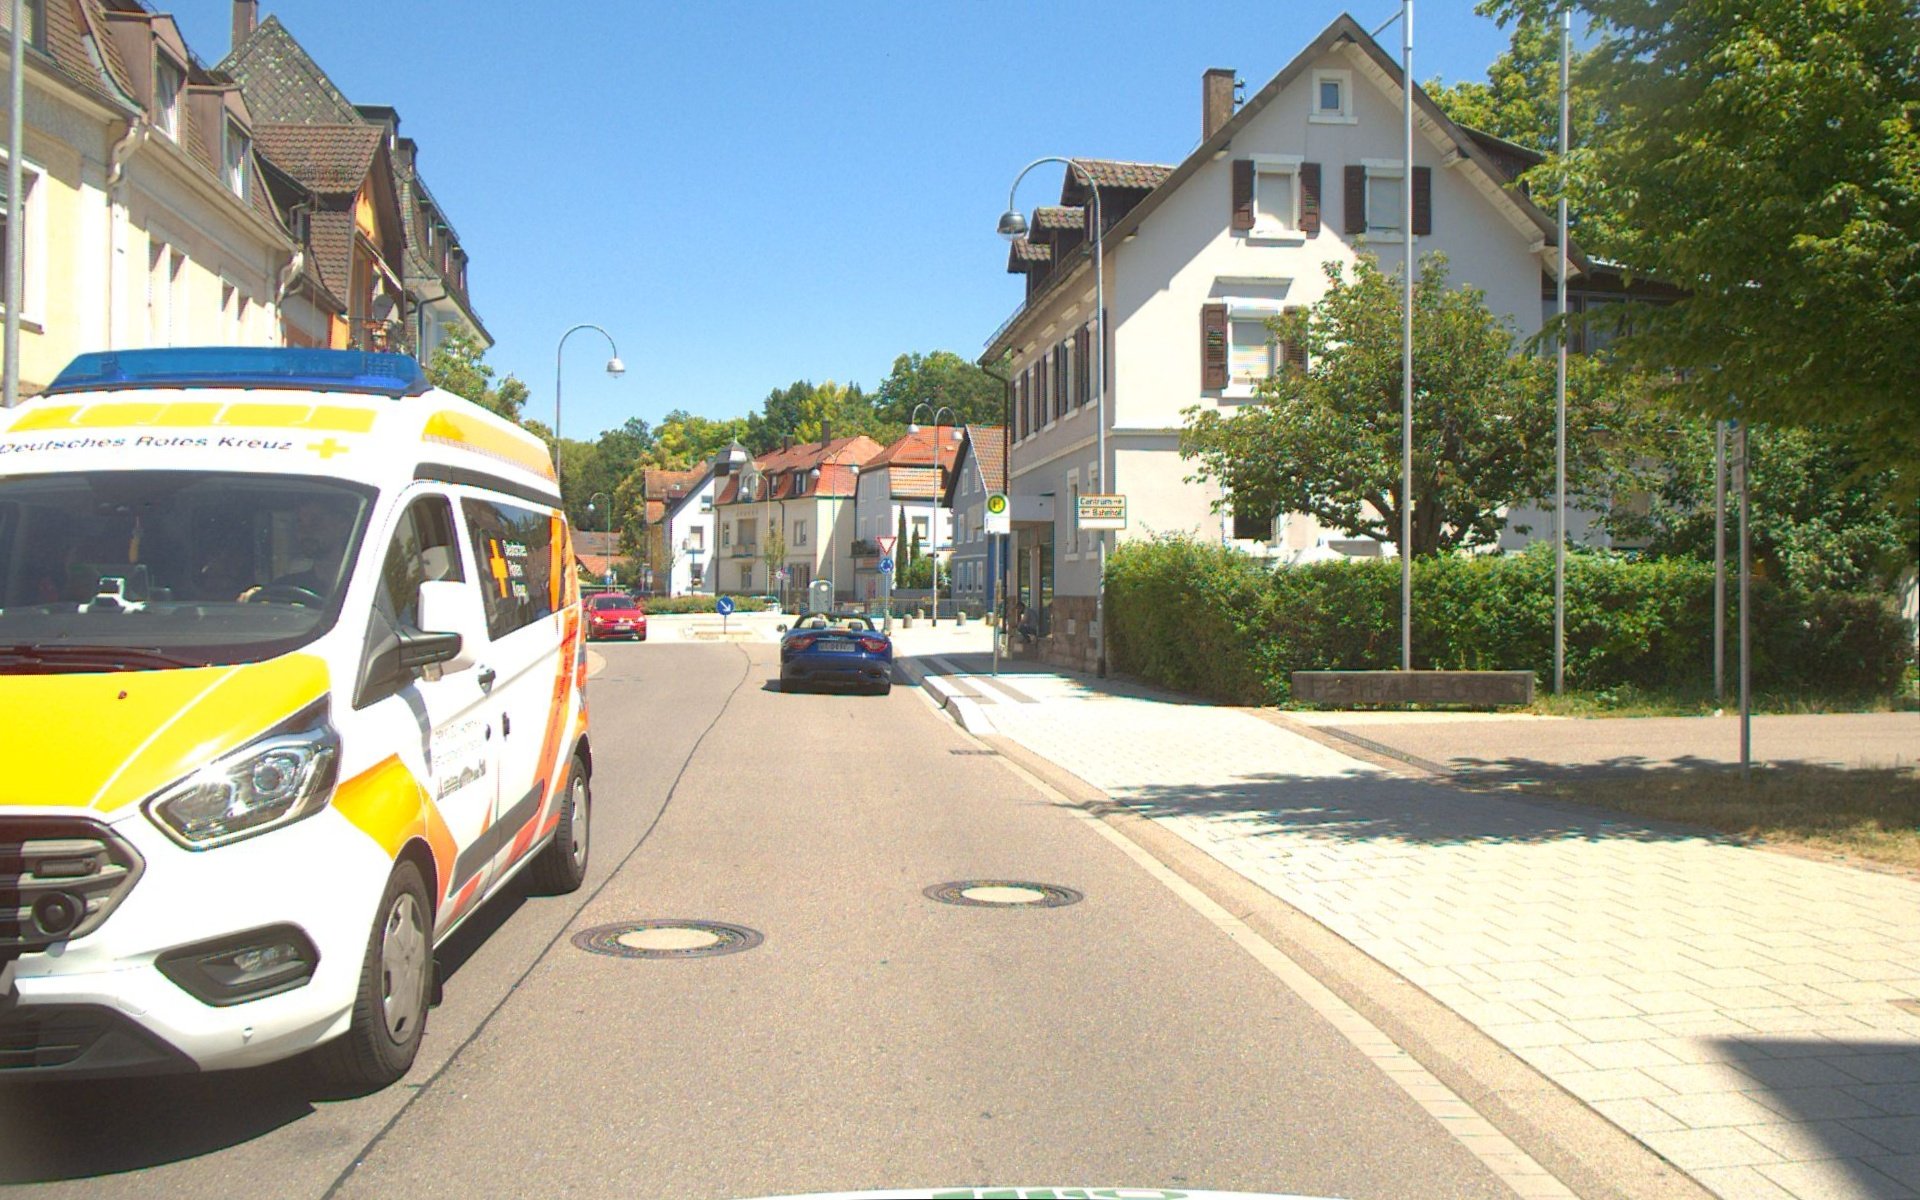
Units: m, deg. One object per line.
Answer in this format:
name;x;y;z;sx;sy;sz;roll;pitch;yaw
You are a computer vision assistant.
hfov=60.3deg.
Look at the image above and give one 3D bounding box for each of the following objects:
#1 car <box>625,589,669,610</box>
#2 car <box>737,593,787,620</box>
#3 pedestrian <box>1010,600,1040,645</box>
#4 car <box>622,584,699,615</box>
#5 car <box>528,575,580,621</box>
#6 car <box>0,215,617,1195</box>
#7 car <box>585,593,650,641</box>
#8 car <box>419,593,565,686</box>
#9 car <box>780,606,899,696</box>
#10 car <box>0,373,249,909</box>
car;-24.660;-0.063;130.299;1.836;1.616;3.948;-1;1;-37
car;-12.531;0.402;104.399;1.895;1.641;4.112;0;-1;-26
pedestrian;1.495;0.516;38.164;0.579;1.017;0.722;-1;0;-8
car;-13.651;-0.013;75.262;1.976;1.353;4.152;-1;0;-33
car;-17.076;-0.084;69.460;1.961;1.854;4.396;-1;0;-16
car;-2.772;0.252;6.646;2.114;2.403;5.242;-1;0;-5
car;-10.988;0.514;53.253;1.880;1.451;3.970;-2;0;-10
car;-8.488;0.666;30.342;1.879;1.507;4.330;3;0;-7
car;-2.137;0.836;28.810;1.873;1.384;4.280;1;0;-5
car;-5.591;0.169;8.160;2.051;2.542;5.498;2;0;-4
